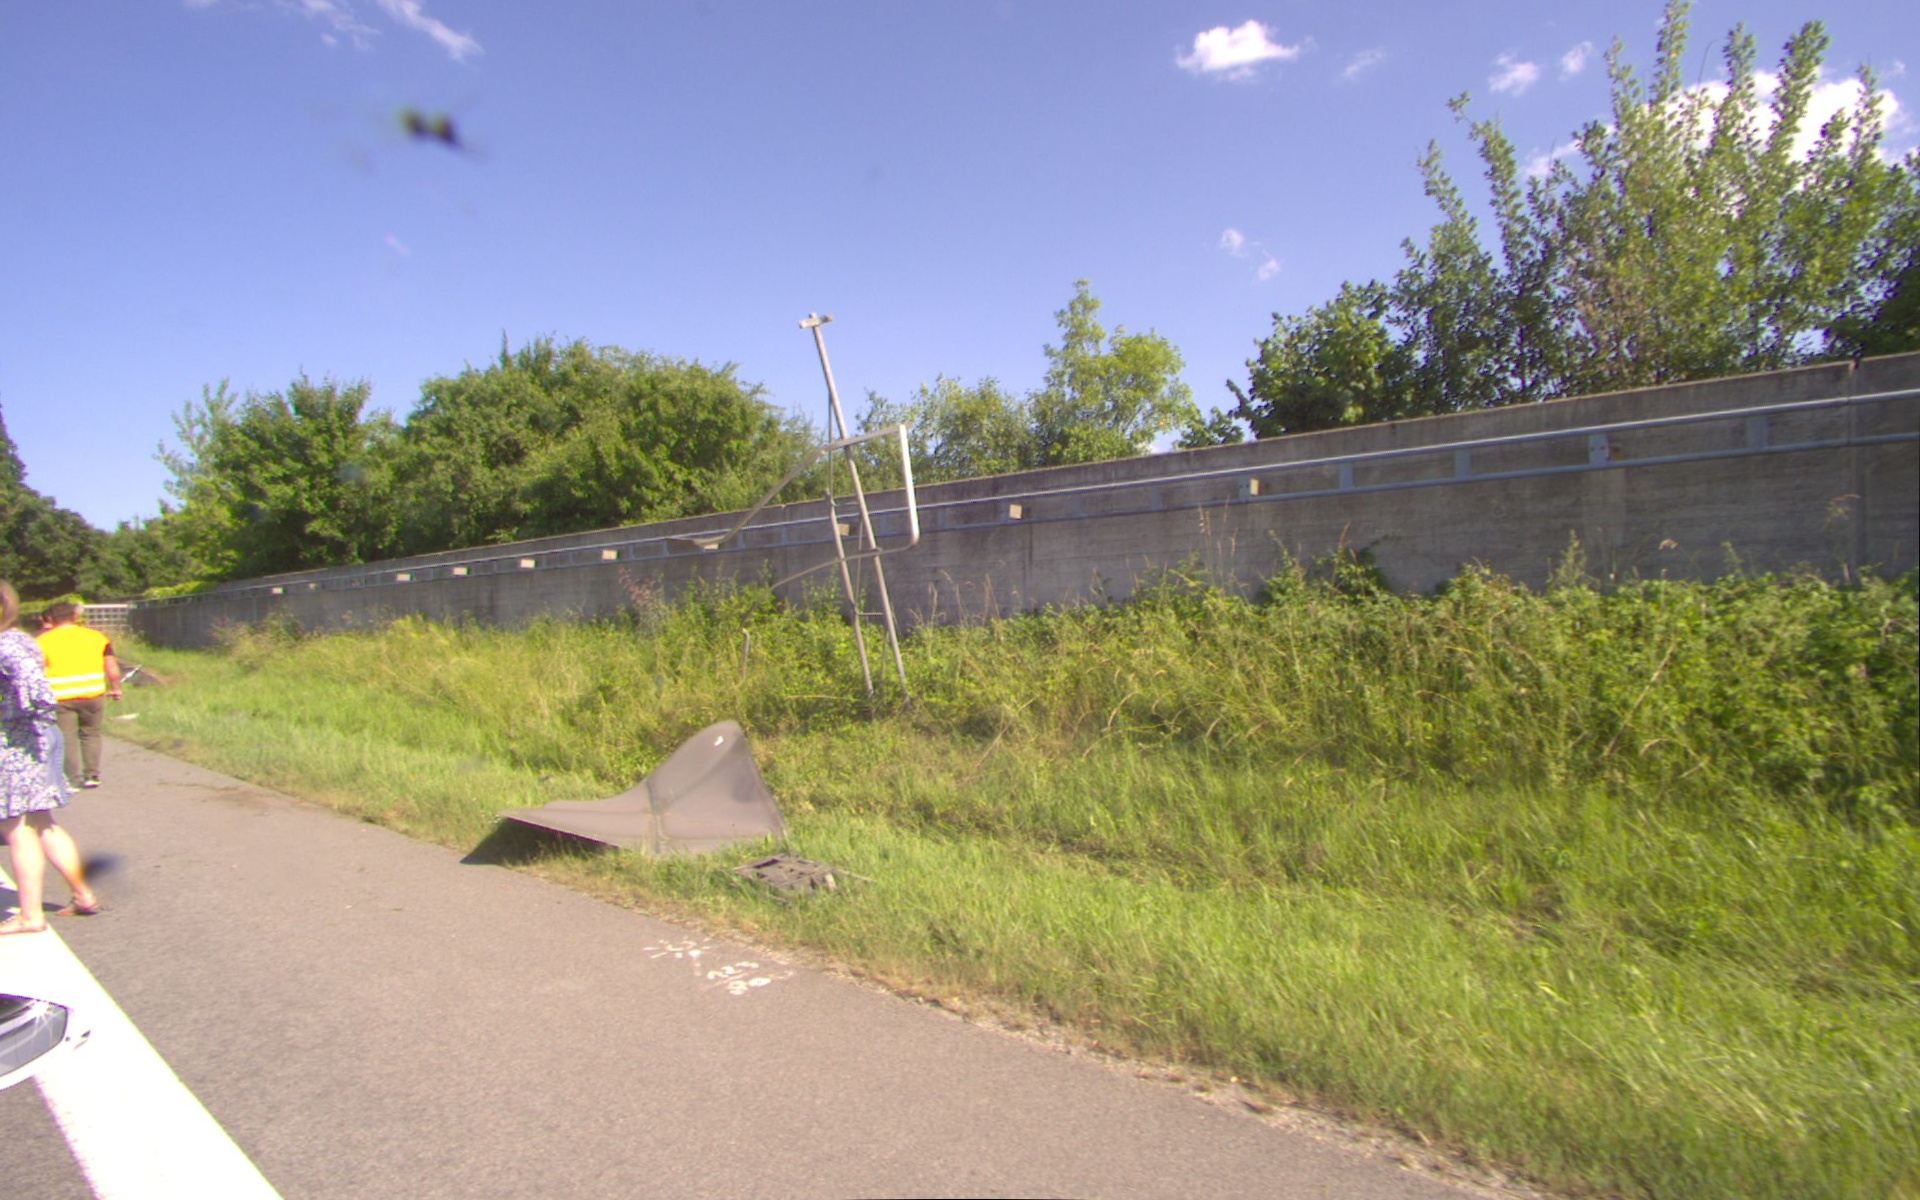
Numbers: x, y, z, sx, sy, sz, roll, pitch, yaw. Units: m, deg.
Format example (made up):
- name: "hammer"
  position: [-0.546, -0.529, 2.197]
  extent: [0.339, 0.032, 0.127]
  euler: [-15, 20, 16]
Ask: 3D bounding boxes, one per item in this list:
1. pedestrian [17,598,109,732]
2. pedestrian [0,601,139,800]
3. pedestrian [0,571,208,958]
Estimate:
- name: "pedestrian"
  position: [-12.250, 0.869, 13.679]
  extent: [0.889, 1.747, 0.747]
  euler: [1, -2, -45]
- name: "pedestrian"
  position: [-8.190, 0.856, 9.196]
  extent: [0.950, 1.675, 1.267]
  euler: [-1, 0, -41]
- name: "pedestrian"
  position: [-4.505, 0.738, 4.870]
  extent: [0.881, 1.718, 1.121]
  euler: [0, 0, 35]
